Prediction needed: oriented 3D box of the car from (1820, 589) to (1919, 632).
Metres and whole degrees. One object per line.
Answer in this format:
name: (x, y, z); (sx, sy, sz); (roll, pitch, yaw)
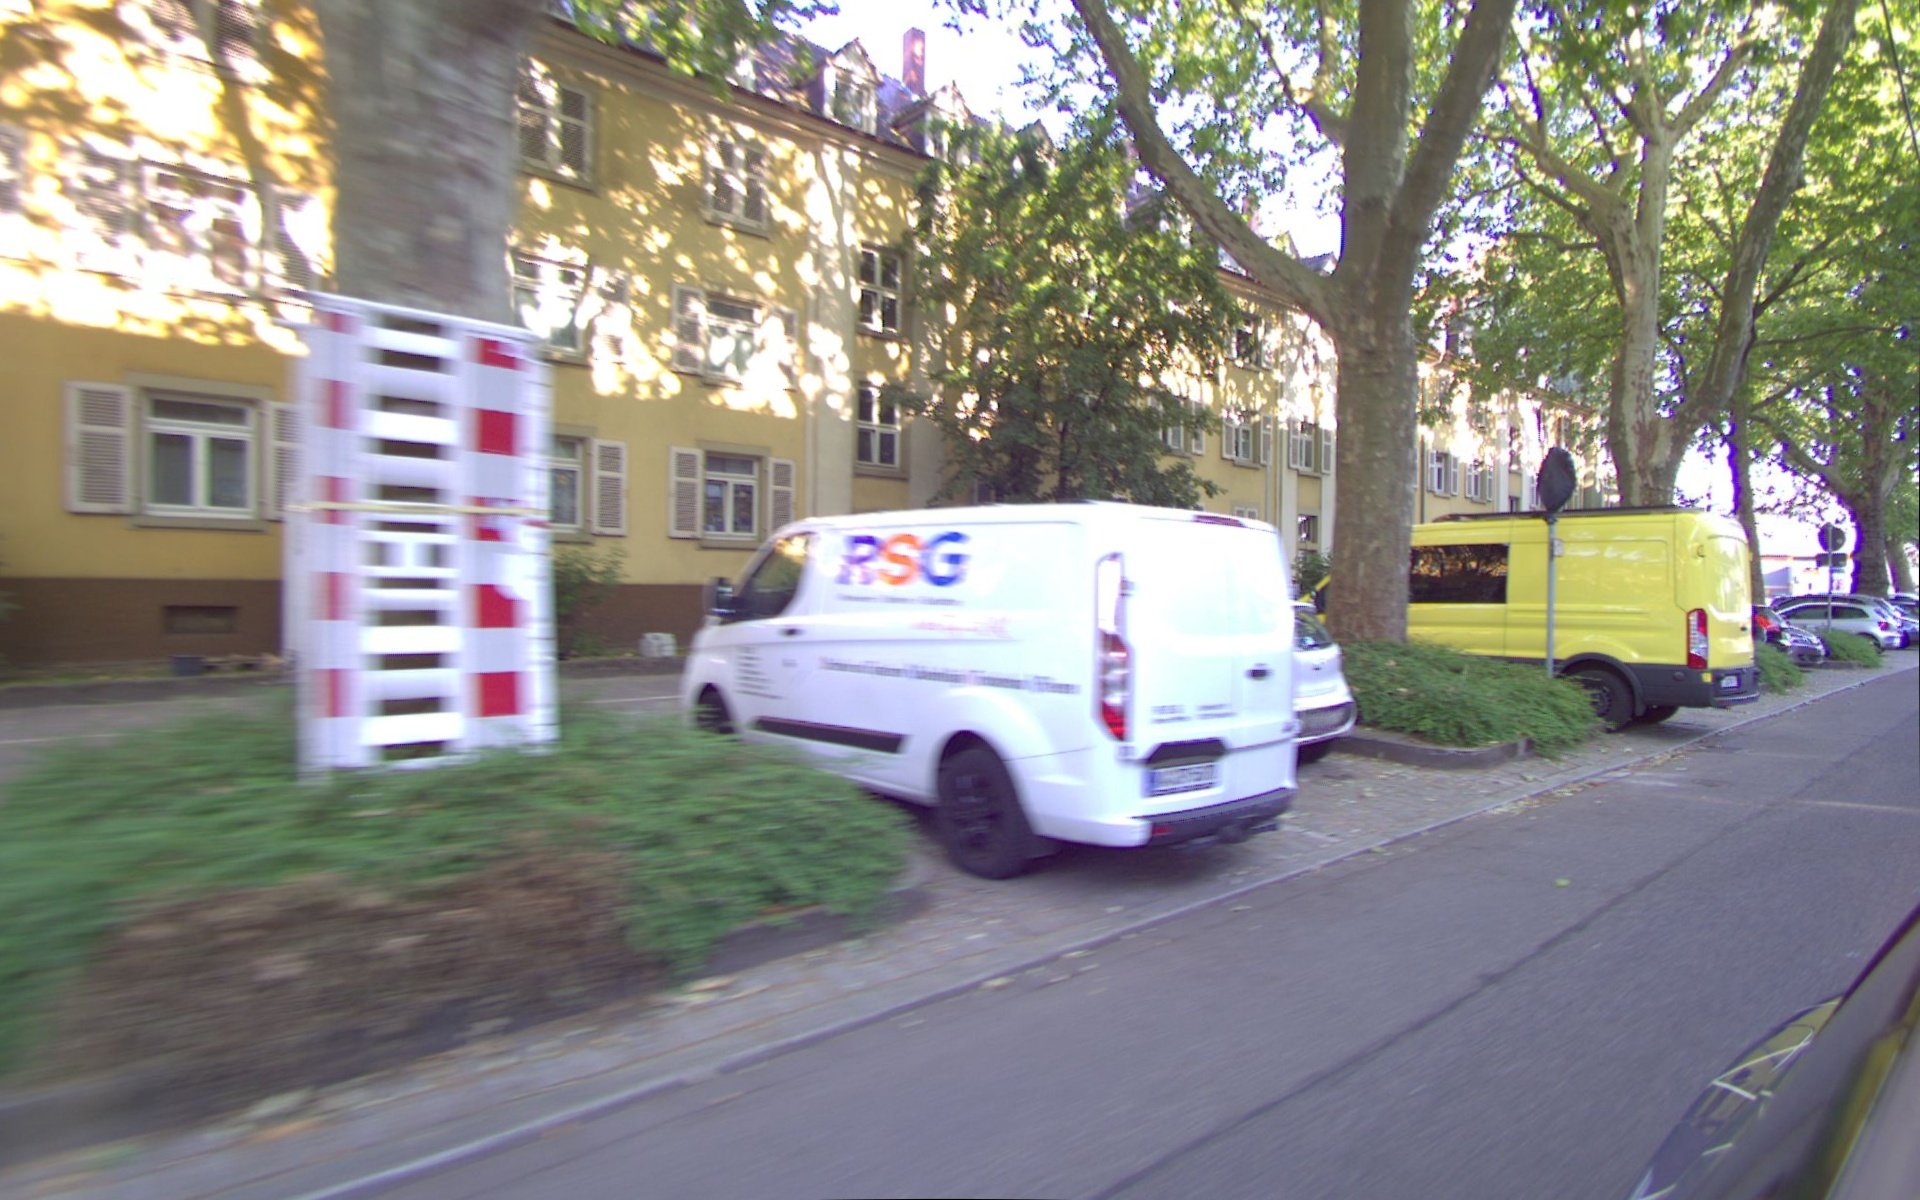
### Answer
car: (36.451, 0.429, 39.272); (1.785, 1.542, 4.410); (1, 2, -40)

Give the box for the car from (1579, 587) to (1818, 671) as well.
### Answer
car: (14.918, 0.507, 20.561); (1.708, 1.444, 3.656); (0, 2, -44)

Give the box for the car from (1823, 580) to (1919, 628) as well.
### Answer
car: (40.019, 0.168, 42.799); (1.881, 1.878, 5.124); (-1, 3, -41)

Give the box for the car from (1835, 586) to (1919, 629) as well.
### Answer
car: (38.191, 0.322, 41.047); (1.764, 1.625, 3.882); (0, 2, -41)

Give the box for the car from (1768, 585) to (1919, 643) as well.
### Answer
car: (29.550, 0.417, 33.233); (1.875, 1.678, 4.433); (0, 2, -42)

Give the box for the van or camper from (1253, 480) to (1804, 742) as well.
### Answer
van or camper: (7.029, 0.019, 13.333); (2.229, 2.661, 5.941); (-1, 2, -38)

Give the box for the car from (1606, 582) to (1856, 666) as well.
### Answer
car: (16.823, 0.436, 22.244); (1.798, 1.569, 4.085); (0, 2, -41)

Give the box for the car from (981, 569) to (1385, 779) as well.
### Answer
car: (1.928, 0.521, 9.346); (1.669, 1.559, 3.309); (0, 1, -42)

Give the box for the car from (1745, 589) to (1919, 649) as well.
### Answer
car: (25.523, 0.503, 29.635); (1.832, 1.441, 3.661); (1, 3, -39)

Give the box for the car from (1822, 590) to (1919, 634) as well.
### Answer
car: (34.488, 0.438, 37.366); (1.712, 1.516, 3.886); (0, 2, -43)

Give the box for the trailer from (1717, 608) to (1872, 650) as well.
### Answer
trailer: (23.280, 0.778, 28.324); (1.409, 0.914, 3.052); (0, 3, -34)

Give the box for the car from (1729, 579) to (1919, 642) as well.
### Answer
car: (27.488, 0.281, 32.289); (1.806, 1.753, 4.322); (1, 2, -36)

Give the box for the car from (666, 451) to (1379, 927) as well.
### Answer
car: (0.003, 0.320, 6.844); (2.027, 2.038, 4.844); (0, 1, -40)
